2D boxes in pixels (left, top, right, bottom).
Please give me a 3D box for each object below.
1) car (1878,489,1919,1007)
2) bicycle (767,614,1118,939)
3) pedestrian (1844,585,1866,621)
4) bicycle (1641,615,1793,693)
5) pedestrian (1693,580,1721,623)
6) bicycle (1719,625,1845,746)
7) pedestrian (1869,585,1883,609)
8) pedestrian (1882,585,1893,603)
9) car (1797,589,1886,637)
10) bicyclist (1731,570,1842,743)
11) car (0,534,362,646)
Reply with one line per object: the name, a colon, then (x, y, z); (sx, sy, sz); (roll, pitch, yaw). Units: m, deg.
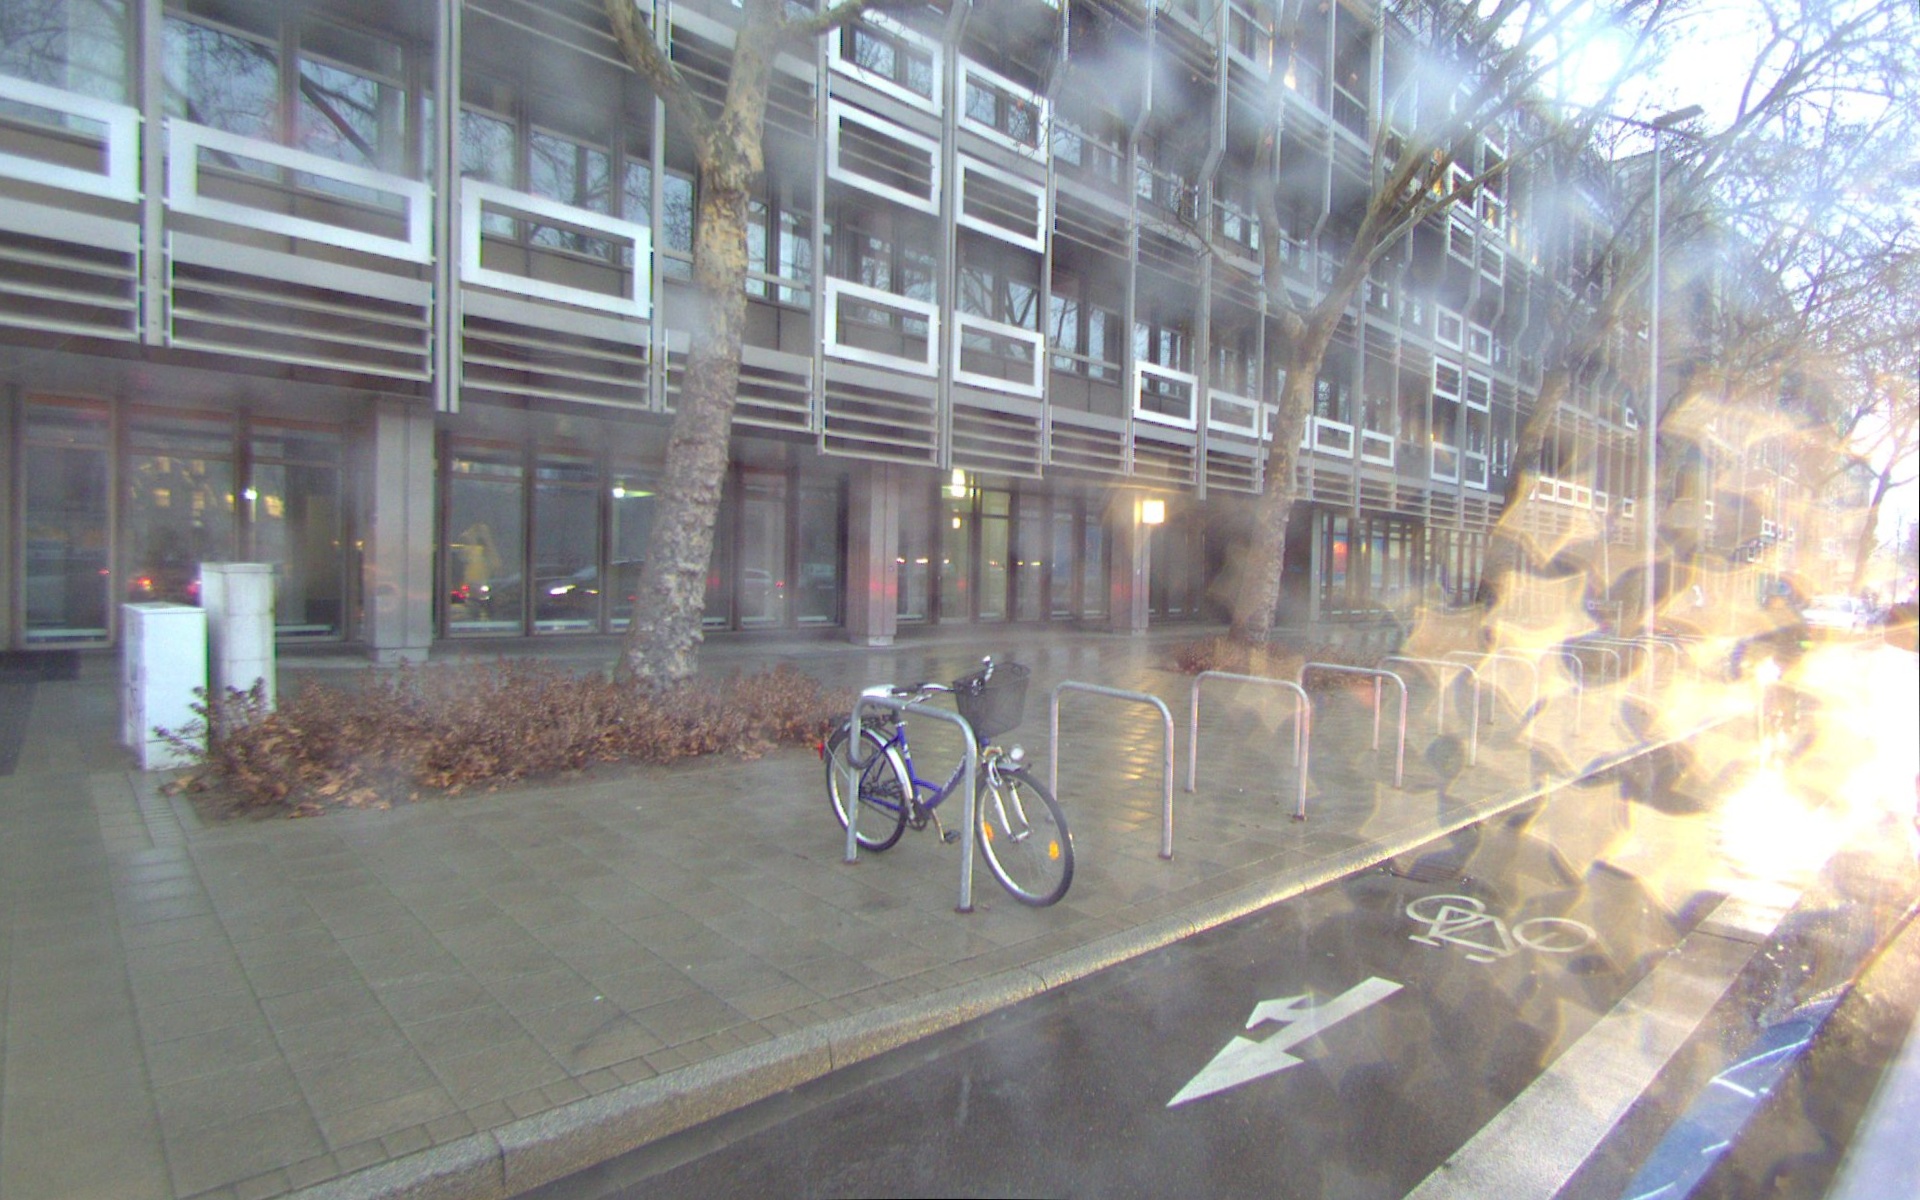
car: (5.445, 0.514, 4.359); (3.932, 1.864, 1.875); (-1, 0, -43)
bicycle: (-0.170, 0.710, 4.863); (0.629, 1.145, 1.810); (2, 2, -41)
pedestrian: (45.396, 0.147, 51.340); (0.765, 1.771, 0.913); (2, 2, 45)
bicycle: (11.662, 0.798, 15.628); (0.864, 1.004, 1.704); (0, 4, -41)
pedestrian: (31.677, 0.053, 42.912); (0.765, 1.771, 0.913); (2, 2, 45)
bicycle: (8.514, 0.835, 10.455); (1.752, 1.108, 0.709); (1, 0, -41)
pedestrian: (70.908, -0.245, 78.345); (0.765, 1.771, 0.913); (2, 2, 45)
pedestrian: (94.091, -0.613, 102.684); (0.765, 1.771, 0.913); (2, 2, 45)
car: (29.446, 0.399, 33.781); (3.930, 1.482, 1.711); (-1, 1, -41)
bicyclist: (8.526, 0.543, 10.434); (0.947, 1.681, 0.704); (1, 1, -41)
car: (-10.705, -0.177, 14.008); (3.929, 1.326, 1.998); (0, 3, -40)
